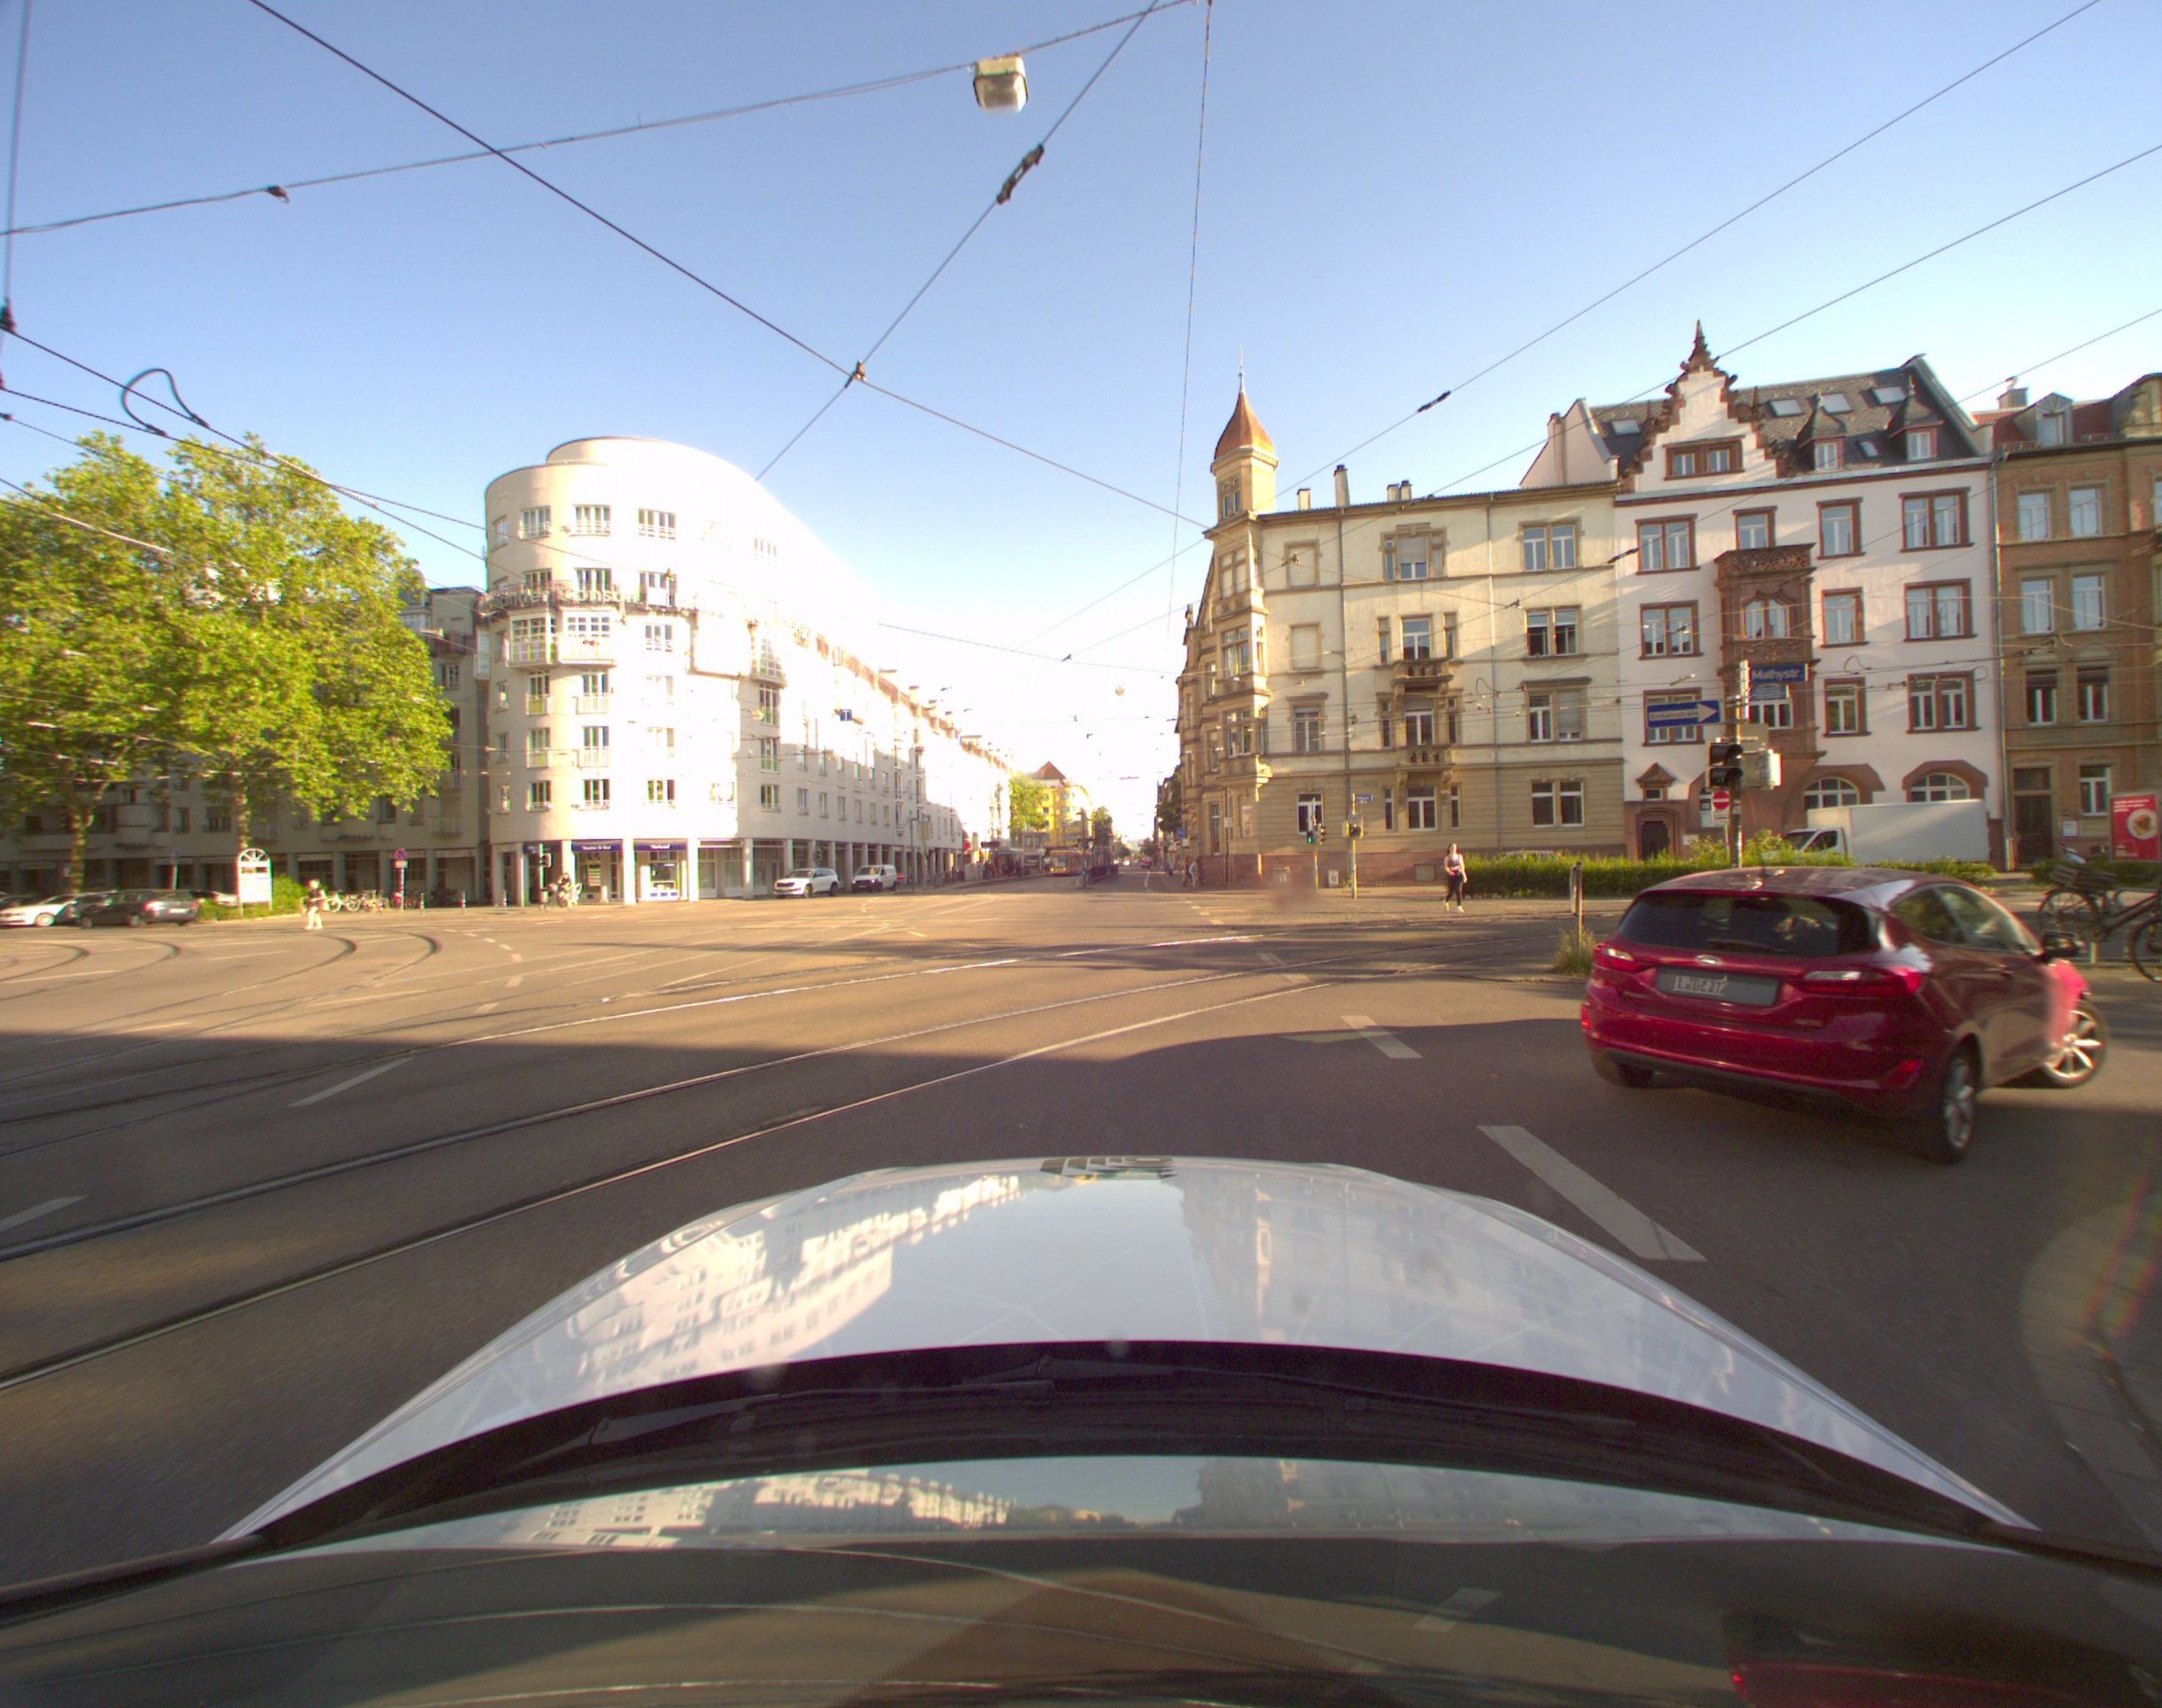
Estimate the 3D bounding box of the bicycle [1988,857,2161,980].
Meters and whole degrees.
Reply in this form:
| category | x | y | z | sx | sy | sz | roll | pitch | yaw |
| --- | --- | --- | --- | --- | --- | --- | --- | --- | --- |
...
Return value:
| category | x | y | z | sx | sy | sz | roll | pitch | yaw |
| --- | --- | --- | --- | --- | --- | --- | --- | --- | --- |
| bicycle | 12.193 | 0.714 | 9.768 | 0.749 | 1.263 | 1.840 | -2 | 1 | 8 |

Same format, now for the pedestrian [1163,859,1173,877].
| category | x | y | z | sx | sy | sz | roll | pitch | yaw |
| --- | --- | --- | --- | --- | --- | --- | --- | --- | --- |
| pedestrian | 8.051 | 1.308 | 75.165 | 0.759 | 1.645 | 0.833 | -3 | 0 | 4 |

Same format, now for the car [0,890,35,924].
| category | x | y | z | sx | sy | sz | roll | pitch | yaw |
| --- | --- | --- | --- | --- | --- | --- | --- | --- | --- |
| car | -56.128 | 2.739 | 40.939 | 1.787 | 1.715 | 4.003 | -1 | -1 | 3 |

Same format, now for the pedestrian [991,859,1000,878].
| category | x | y | z | sx | sy | sz | roll | pitch | yaw |
| --- | --- | --- | --- | --- | --- | --- | --- | --- | --- |
| pedestrian | -7.741 | 1.333 | 73.544 | 0.698 | 1.691 | 0.668 | -1 | -1 | -20 |

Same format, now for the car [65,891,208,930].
| category | x | y | z | sx | sy | sz | roll | pitch | yaw |
| --- | --- | --- | --- | --- | --- | --- | --- | --- | --- |
| car | -40.554 | 2.400 | 35.017 | 4.416 | 1.421 | 1.895 | -2 | 0 | 8 |

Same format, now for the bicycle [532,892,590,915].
| category | x | y | z | sx | sy | sz | roll | pitch | yaw |
| --- | --- | --- | --- | --- | --- | --- | --- | --- | --- |
| bicycle | -23.647 | 2.234 | 37.092 | 0.835 | 0.927 | 2.273 | -2 | 0 | 14 |

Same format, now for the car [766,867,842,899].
| category | x | y | z | sx | sy | sz | roll | pitch | yaw |
| --- | --- | --- | --- | --- | --- | --- | --- | --- | --- |
| car | -15.364 | 1.566 | 45.433 | 1.980 | 1.620 | 4.524 | -2 | -1 | 11 |

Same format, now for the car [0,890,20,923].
| category | x | y | z | sx | sy | sz | roll | pitch | yaw |
| --- | --- | --- | --- | --- | --- | --- | --- | --- | --- |
| car | -58.223 | 2.821 | 41.938 | 1.787 | 1.715 | 4.003 | -1 | -1 | 3 |

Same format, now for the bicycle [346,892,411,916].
| category | x | y | z | sx | sy | sz | roll | pitch | yaw |
| --- | --- | --- | --- | --- | --- | --- | --- | --- | --- |
| bicycle | -36.798 | 2.605 | 42.688 | 2.436 | 1.107 | 0.935 | -1 | -1 | -10 |

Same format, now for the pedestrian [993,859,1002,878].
| category | x | y | z | sx | sy | sz | roll | pitch | yaw |
| --- | --- | --- | --- | --- | --- | --- | --- | --- | --- |
| pedestrian | -7.693 | 1.361 | 75.158 | 0.698 | 1.691 | 0.668 | -1 | -1 | -20 |

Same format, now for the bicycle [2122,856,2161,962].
| category | x | y | z | sx | sy | sz | roll | pitch | yaw |
| --- | --- | --- | --- | --- | --- | --- | --- | --- | --- |
| bicycle | 13.532 | 0.694 | 9.379 | 0.749 | 1.263 | 1.973 | -2 | 1 | 8 |

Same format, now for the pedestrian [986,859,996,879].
| category | x | y | z | sx | sy | sz | roll | pitch | yaw |
| --- | --- | --- | --- | --- | --- | --- | --- | --- | --- |
| pedestrian | -7.860 | 1.293 | 71.199 | 0.523 | 1.733 | 0.756 | 0 | -2 | -44 |

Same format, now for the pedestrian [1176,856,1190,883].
| category | x | y | z | sx | sy | sz | roll | pitch | yaw |
| --- | --- | --- | --- | --- | --- | --- | --- | --- | --- |
| pedestrian | 7.047 | 1.063 | 56.248 | 0.797 | 1.824 | 0.798 | -3 | 0 | 4 |

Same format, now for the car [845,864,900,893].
| category | x | y | z | sx | sy | sz | roll | pitch | yaw |
| --- | --- | --- | --- | --- | --- | --- | --- | --- | --- |
| car | -14.177 | 1.620 | 55.738 | 1.985 | 1.837 | 5.352 | -2 | -1 | 4 |

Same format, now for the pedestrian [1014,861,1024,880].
| category | x | y | z | sx | sy | sz | roll | pitch | yaw |
| --- | --- | --- | --- | --- | --- | --- | --- | --- | --- |
| pedestrian | -6.181 | 1.667 | 81.233 | 0.928 | 1.905 | 0.881 | -1 | -1 | 1 |

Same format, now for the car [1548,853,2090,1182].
| category | x | y | z | sx | sy | sz | roll | pitch | yaw |
| --- | --- | --- | --- | --- | --- | --- | --- | --- | --- |
| car | 4.949 | 0.753 | 5.391 | 3.591 | 1.495 | 1.681 | 0 | 0 | -31 |

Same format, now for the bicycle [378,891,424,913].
| category | x | y | z | sx | sy | sz | roll | pitch | yaw |
| --- | --- | --- | --- | --- | --- | --- | --- | --- | --- |
| bicycle | -37.055 | 2.628 | 44.361 | 1.930 | 1.107 | 0.821 | -2 | -1 | 9 |

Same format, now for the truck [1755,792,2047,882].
| category | x | y | z | sx | sy | sz | roll | pitch | yaw |
| --- | --- | --- | --- | --- | --- | --- | --- | --- | --- |
| truck | 30.758 | -0.600 | 30.849 | 8.012 | 3.080 | 2.336 | -1 | 0 | 8 |

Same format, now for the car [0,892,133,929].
| category | x | y | z | sx | sy | sz | roll | pitch | yaw |
| --- | --- | --- | --- | --- | --- | --- | --- | --- | --- |
| car | -49.059 | 2.681 | 39.304 | 1.787 | 1.510 | 4.003 | -1 | -1 | 3 |

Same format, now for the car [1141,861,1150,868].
| category | x | y | z | sx | sy | sz | roll | pitch | yaw |
| --- | --- | --- | --- | --- | --- | --- | --- | --- | --- |
| car | 14.413 | 2.405 | 181.926 | 1.984 | 1.449 | 4.005 | -1 | 0 | 4 |

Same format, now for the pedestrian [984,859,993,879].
| category | x | y | z | sx | sy | sz | roll | pitch | yaw |
| --- | --- | --- | --- | --- | --- | --- | --- | --- | --- |
| pedestrian | -7.820 | 1.258 | 69.115 | 0.596 | 1.692 | 0.614 | -1 | -1 | 4 |

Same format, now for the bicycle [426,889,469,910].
| category | x | y | z | sx | sy | sz | roll | pitch | yaw |
| --- | --- | --- | --- | --- | --- | --- | --- | --- | --- |
| bicycle | -36.896 | 2.634 | 47.447 | 1.931 | 1.107 | 0.820 | -2 | -1 | 7 |

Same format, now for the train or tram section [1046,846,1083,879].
| category | x | y | z | sx | sy | sz | roll | pitch | yaw |
| --- | --- | --- | --- | --- | --- | --- | --- | --- | --- |
| train or tram section | -1.861 | 1.082 | 99.317 | 2.872 | 3.490 | 14.183 | -3 | -1 | 4 |

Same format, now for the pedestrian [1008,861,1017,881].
| category | x | y | z | sx | sy | sz | roll | pitch | yaw |
| --- | --- | --- | --- | --- | --- | --- | --- | --- | --- |
| pedestrian | -6.690 | 1.639 | 79.697 | 0.693 | 1.905 | 0.672 | -1 | -1 | 1 |

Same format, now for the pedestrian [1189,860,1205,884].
| category | x | y | z | sx | sy | sz | roll | pitch | yaw |
| --- | --- | --- | --- | --- | --- | --- | --- | --- | --- |
| pedestrian | 6.628 | 1.044 | 46.668 | 0.791 | 1.331 | 0.720 | -3 | -2 | 2 |

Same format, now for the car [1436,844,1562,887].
| category | x | y | z | sx | sy | sz | roll | pitch | yaw |
| --- | --- | --- | --- | --- | --- | --- | --- | --- | --- |
| car | 17.053 | 0.476 | 33.457 | 4.230 | 1.632 | 1.951 | -1 | 0 | 12 |

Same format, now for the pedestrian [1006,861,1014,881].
| category | x | y | z | sx | sy | sz | roll | pitch | yaw |
| --- | --- | --- | --- | --- | --- | --- | --- | --- | --- |
| pedestrian | -6.898 | 1.630 | 79.150 | 0.693 | 1.905 | 0.672 | -1 | -1 | 1 |

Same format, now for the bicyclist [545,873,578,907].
| category | x | y | z | sx | sy | sz | roll | pitch | yaw |
| --- | --- | --- | --- | --- | --- | --- | --- | --- | --- |
| bicyclist | -23.659 | 1.635 | 37.114 | 0.835 | 1.467 | 0.900 | -2 | -1 | 14 |

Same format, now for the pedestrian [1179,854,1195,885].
| category | x | y | z | sx | sy | sz | roll | pitch | yaw |
| --- | --- | --- | --- | --- | --- | --- | --- | --- | --- |
| pedestrian | 6.149 | 0.904 | 47.443 | 0.791 | 1.721 | 0.720 | -3 | -2 | 2 |

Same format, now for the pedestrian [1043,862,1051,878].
| category | x | y | z | sx | sy | sz | roll | pitch | yaw |
| --- | --- | --- | --- | --- | --- | --- | --- | --- | --- |
| pedestrian | -4.204 | 2.001 | 100.529 | 0.879 | 1.905 | 0.931 | -1 | -1 | -12 |

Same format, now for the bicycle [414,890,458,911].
| category | x | y | z | sx | sy | sz | roll | pitch | yaw |
| --- | --- | --- | --- | --- | --- | --- | --- | --- | --- |
| bicycle | -36.896 | 2.632 | 46.576 | 1.931 | 1.107 | 0.820 | -2 | -1 | 7 |

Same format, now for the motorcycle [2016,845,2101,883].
| category | x | y | z | sx | sy | sz | roll | pitch | yaw |
| --- | --- | --- | --- | --- | --- | --- | --- | --- | --- |
| motorcycle | 30.455 | 0.331 | 25.412 | 0.602 | 1.021 | 1.758 | -2 | -6 | 8 |

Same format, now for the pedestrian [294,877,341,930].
| category | x | y | z | sx | sy | sz | roll | pitch | yaw |
| --- | --- | --- | --- | --- | --- | --- | --- | --- | --- |
| pedestrian | -25.283 | 1.636 | 26.974 | 0.862 | 1.681 | 0.699 | -3 | 1 | 13 |

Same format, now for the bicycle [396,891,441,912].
| category | x | y | z | sx | sy | sz | roll | pitch | yaw |
| --- | --- | --- | --- | --- | --- | --- | --- | --- | --- |
| bicycle | -36.892 | 2.628 | 45.341 | 1.930 | 1.107 | 0.821 | -2 | -1 | 9 |

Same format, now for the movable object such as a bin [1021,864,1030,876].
| category | x | y | z | sx | sy | sz | roll | pitch | yaw |
| --- | --- | --- | --- | --- | --- | --- | --- | --- | --- |
| movable object such as a bin | -5.952 | 1.689 | 87.446 | 0.933 | 1.287 | 0.935 | -1 | -1 | 2 |

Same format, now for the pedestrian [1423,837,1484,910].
| category | x | y | z | sx | sy | sz | roll | pitch | yaw |
| --- | --- | --- | --- | --- | --- | --- | --- | --- | --- |
| pedestrian | 9.579 | 0.496 | 20.989 | 1.019 | 1.807 | 1.083 | -2 | -1 | 1 |

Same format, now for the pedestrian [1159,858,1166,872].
| category | x | y | z | sx | sy | sz | roll | pitch | yaw |
| --- | --- | --- | --- | --- | --- | --- | --- | --- | --- |
| pedestrian | 10.926 | 1.474 | 109.542 | 0.710 | 1.774 | 0.773 | -4 | 0 | 1 |
